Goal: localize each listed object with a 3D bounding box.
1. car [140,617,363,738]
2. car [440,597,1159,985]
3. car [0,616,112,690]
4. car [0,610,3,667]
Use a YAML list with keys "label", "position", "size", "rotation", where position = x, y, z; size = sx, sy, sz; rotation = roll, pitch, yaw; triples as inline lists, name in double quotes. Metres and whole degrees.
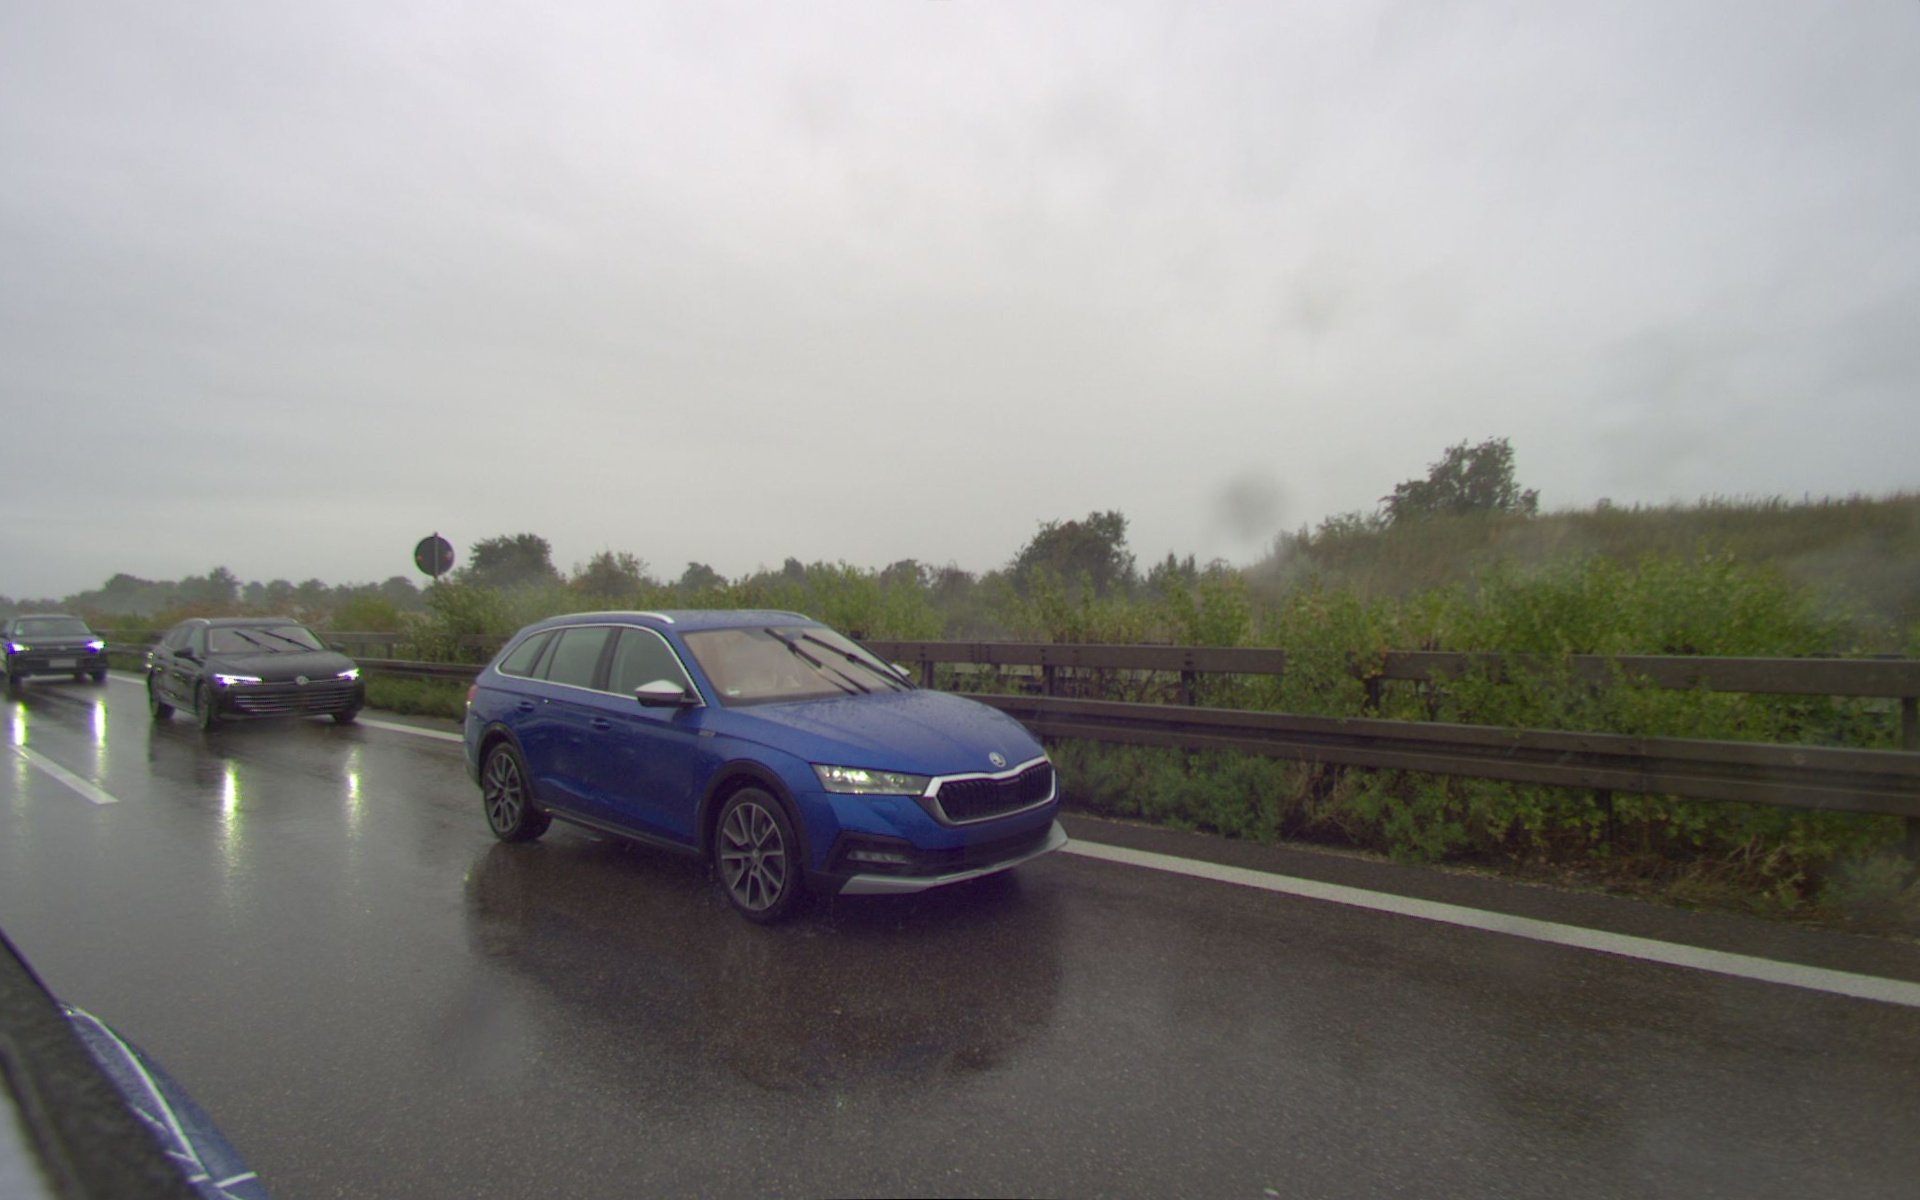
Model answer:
- label: "car"
  position: [-10.117, 0.994, 14.323]
  size: [4.368, 1.447, 1.592]
  rotation: [-1, -1, 41]
- label: "car"
  position: [-1.251, 0.775, 6.046]
  size: [4.509, 1.487, 1.768]
  rotation: [-1, -1, 41]
- label: "car"
  position: [-22.519, 1.237, 24.918]
  size: [4.266, 1.644, 1.864]
  rotation: [-1, -1, 41]
- label: "car"
  position: [-36.245, 1.421, 36.833]
  size: [4.270, 2.029, 1.863]
  rotation: [-2, -1, 44]
